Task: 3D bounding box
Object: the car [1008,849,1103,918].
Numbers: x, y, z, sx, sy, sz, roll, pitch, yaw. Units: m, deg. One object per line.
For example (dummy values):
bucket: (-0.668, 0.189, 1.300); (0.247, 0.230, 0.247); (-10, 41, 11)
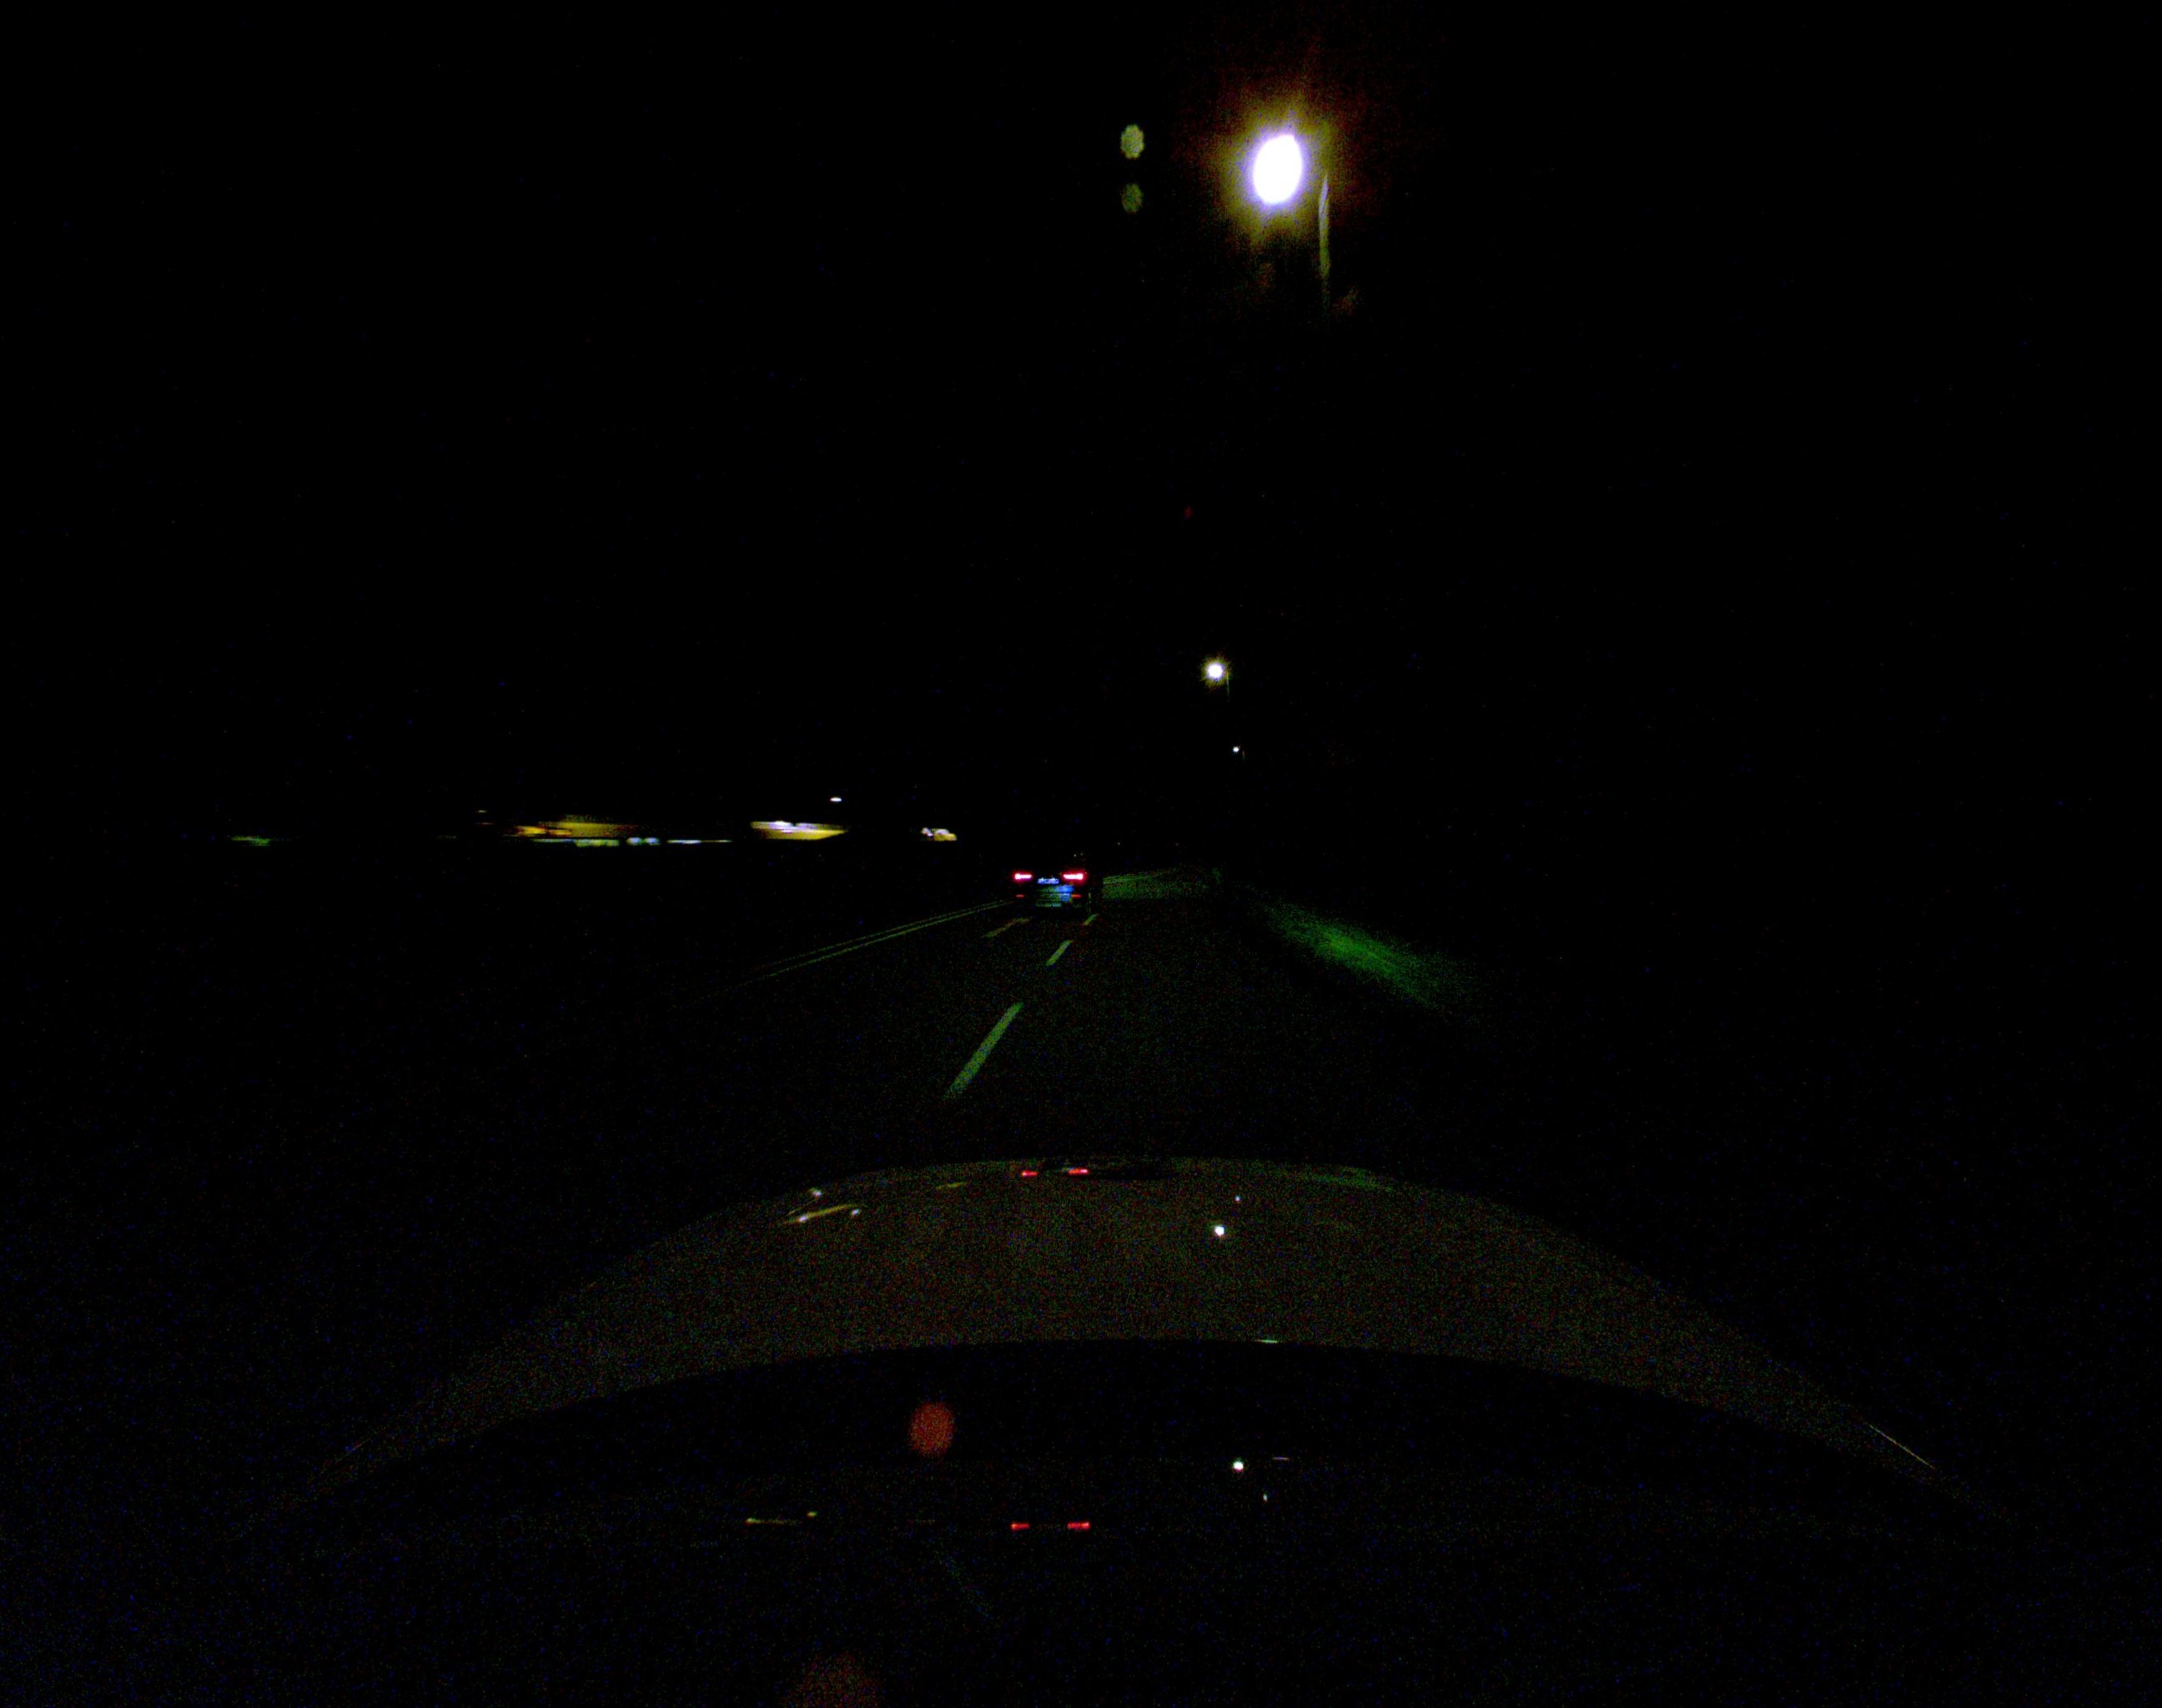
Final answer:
car: (-0.540, 0.673, 20.613); (1.805, 1.573, 3.951); (0, 0, 7)
